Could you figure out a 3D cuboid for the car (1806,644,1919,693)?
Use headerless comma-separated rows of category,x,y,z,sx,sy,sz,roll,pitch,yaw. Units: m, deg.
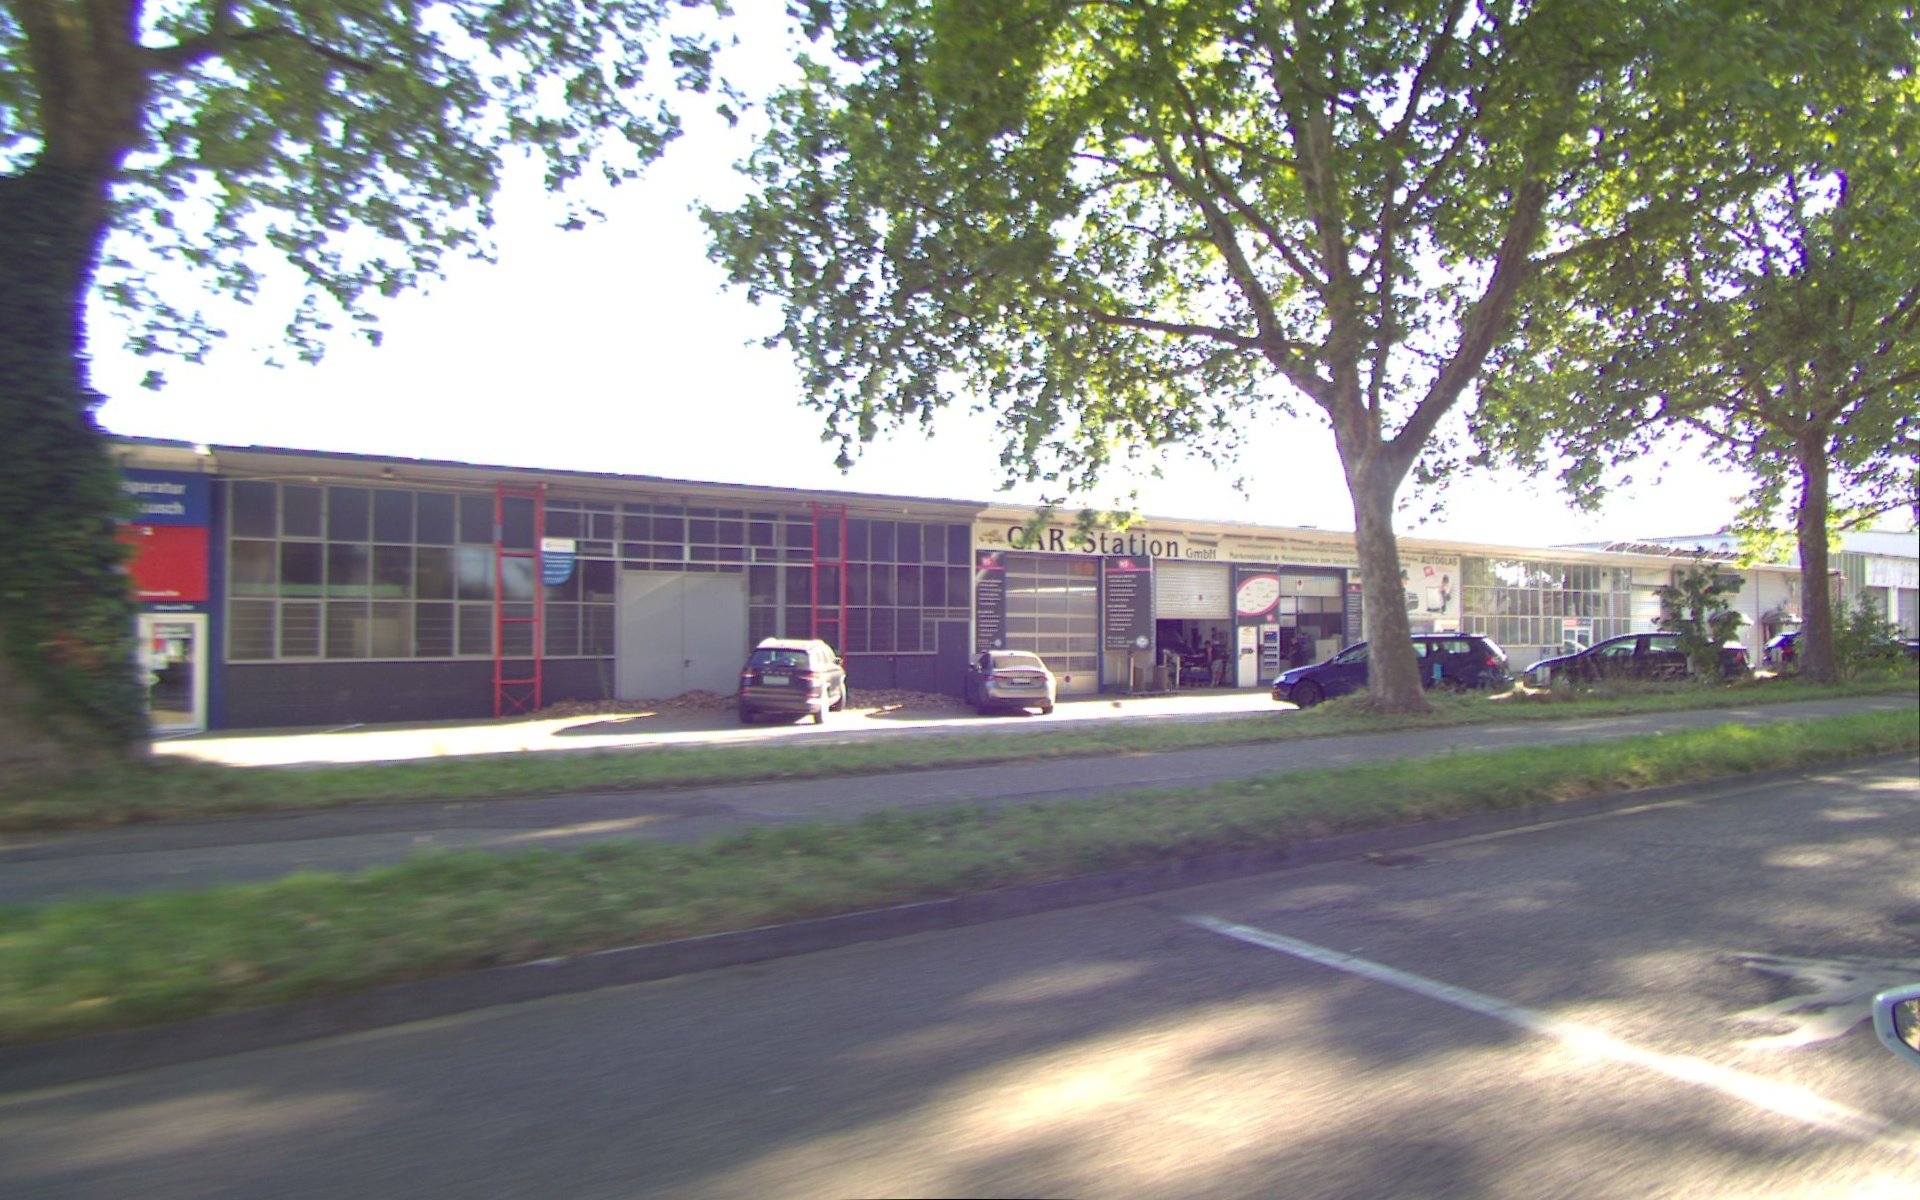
car,31.266,2.279,33.533,4.180,1.471,1.999,1,-1,22

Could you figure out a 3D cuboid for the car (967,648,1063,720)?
car,1.272,2.007,24.944,1.961,1.461,3.999,1,-1,-2

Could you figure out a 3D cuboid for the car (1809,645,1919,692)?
car,31.349,2.284,33.525,4.180,1.400,1.999,1,-1,22

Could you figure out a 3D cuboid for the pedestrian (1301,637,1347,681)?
pedestrian,13.522,2.177,37.362,1.108,1.581,1.158,2,-1,-23

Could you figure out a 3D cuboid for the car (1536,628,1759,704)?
car,16.514,1.518,24.294,4.280,1.550,1.993,1,-1,37

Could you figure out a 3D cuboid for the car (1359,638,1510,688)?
car,15.583,2.035,33.294,1.969,1.339,4.455,2,0,-19

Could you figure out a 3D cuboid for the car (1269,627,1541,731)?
car,9.116,1.517,20.770,4.821,1.783,1.993,1,-1,37

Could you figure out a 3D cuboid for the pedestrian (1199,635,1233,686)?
pedestrian,8.685,2.046,34.062,0.761,1.698,0.789,2,0,-30

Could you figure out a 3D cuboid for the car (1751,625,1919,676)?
car,28.164,1.576,32.057,4.180,1.471,1.999,1,-1,22

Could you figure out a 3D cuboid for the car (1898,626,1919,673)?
car,37.503,1.873,36.765,4.176,1.722,2.001,1,-1,14

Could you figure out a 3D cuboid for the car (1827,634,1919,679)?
car,33.678,2.007,35.487,4.180,1.471,1.999,1,-1,22

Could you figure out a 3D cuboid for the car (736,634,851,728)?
car,-3.503,1.676,21.887,1.961,1.728,3.999,1,-1,-2

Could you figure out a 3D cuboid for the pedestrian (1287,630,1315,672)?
pedestrian,12.544,1.879,36.995,0.675,1.491,0.691,1,0,-22
